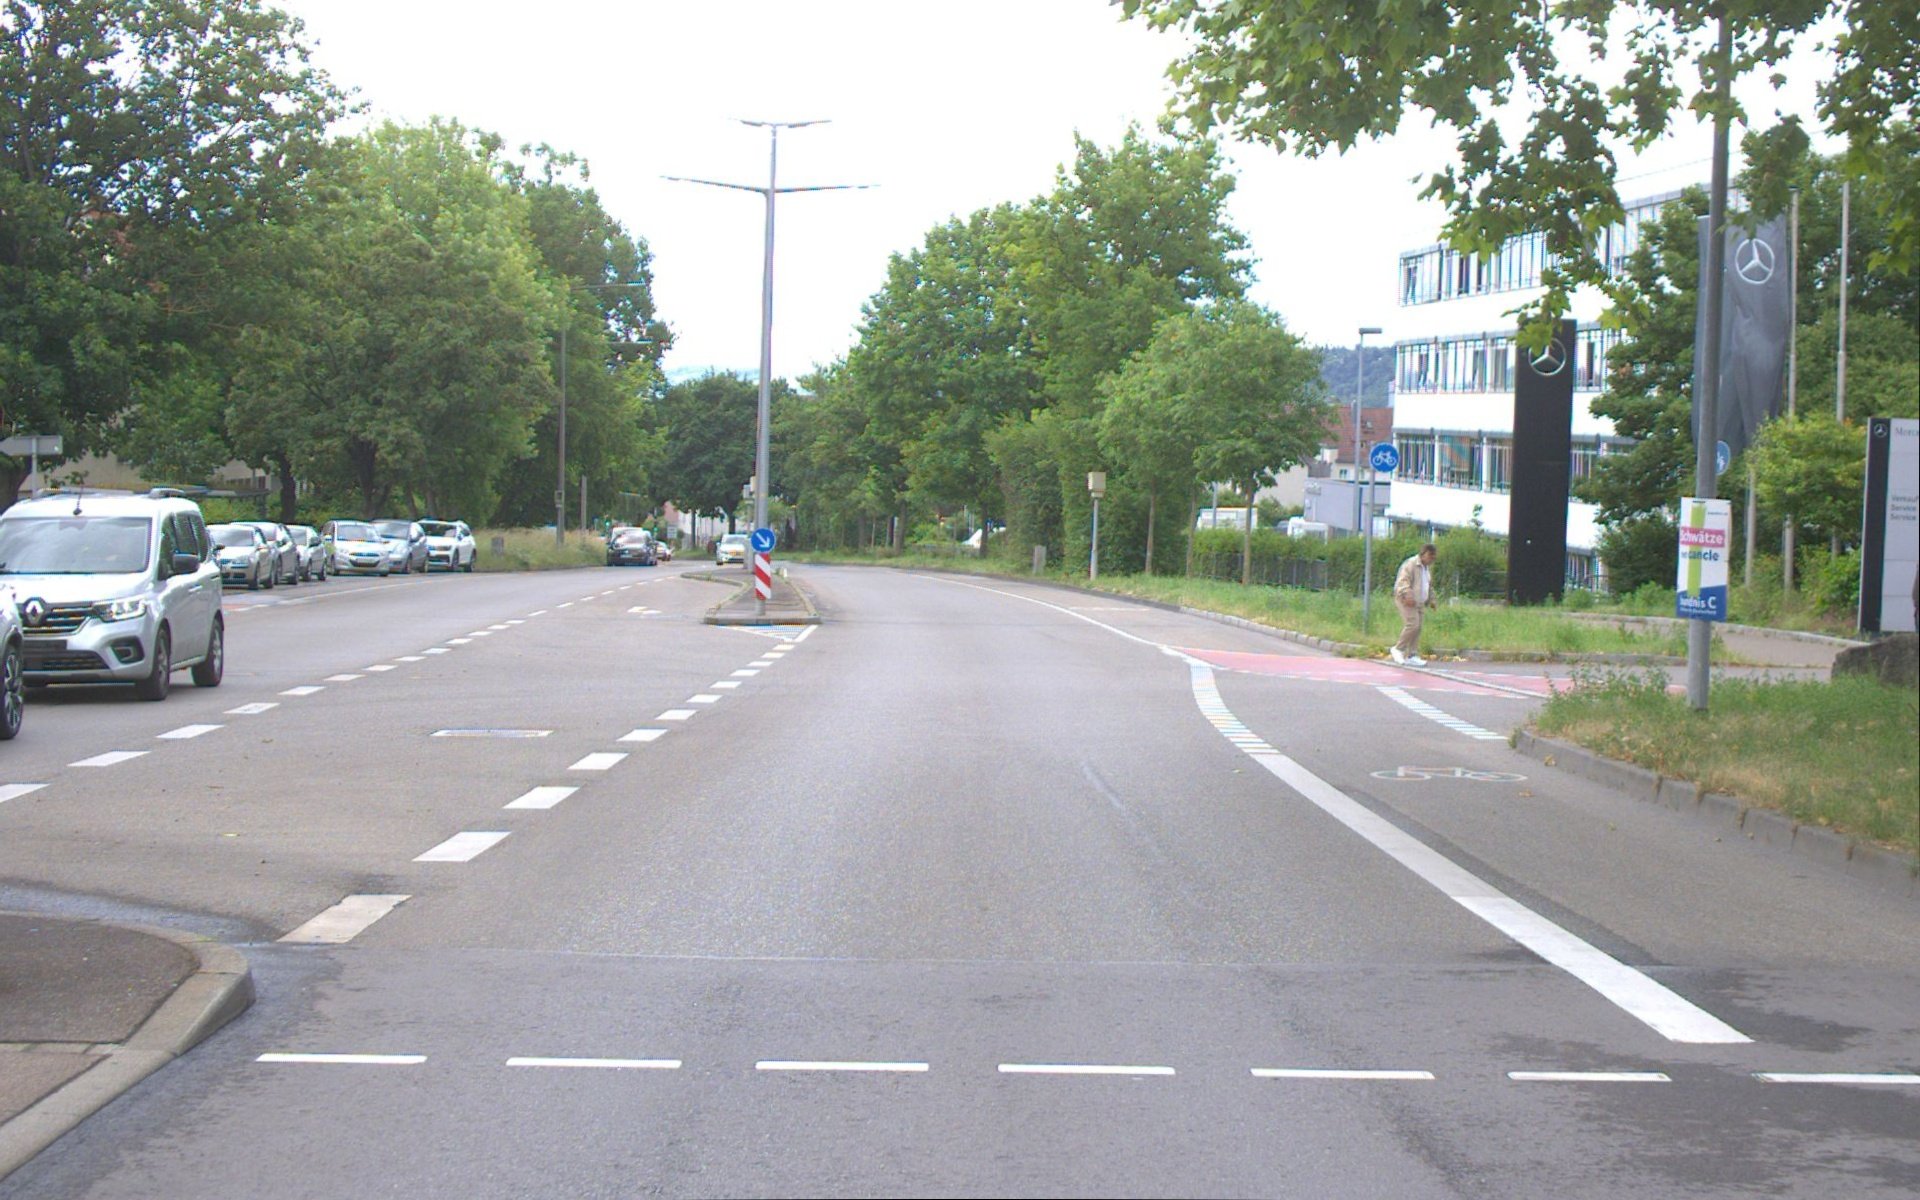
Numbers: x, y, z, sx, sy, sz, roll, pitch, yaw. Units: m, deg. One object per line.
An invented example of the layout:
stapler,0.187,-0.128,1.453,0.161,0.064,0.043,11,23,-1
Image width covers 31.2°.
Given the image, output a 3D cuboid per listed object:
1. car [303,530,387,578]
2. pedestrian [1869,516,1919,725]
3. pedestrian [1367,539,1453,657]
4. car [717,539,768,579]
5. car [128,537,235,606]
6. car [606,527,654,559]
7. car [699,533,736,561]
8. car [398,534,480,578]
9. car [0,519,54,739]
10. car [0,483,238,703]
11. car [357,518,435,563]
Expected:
car,-17.733,-1.334,98.968,1.672,1.300,4.001,1,1,-20
pedestrian,8.450,0.174,29.959,0.748,1.795,0.860,2,1,34
pedestrian,5.665,-0.034,43.285,0.788,1.458,0.749,1,1,-20
car,-7.611,-1.447,120.420,1.611,1.300,4.000,2,1,-2
car,-16.879,-0.638,74.685,1.672,1.398,4.001,2,1,-5
car,-14.172,-2.450,147.796,1.771,1.300,4.000,2,1,-2
car,-11.965,-2.621,169.771,1.611,1.300,4.000,2,1,-2
car,-16.617,-1.413,109.769,1.673,1.300,3.999,2,1,5
car,-7.505,0.224,22.900,1.846,1.515,4.816,-1,1,-3
car,-7.753,-0.109,30.607,1.846,1.797,4.651,-1,1,-3
car,-17.176,-1.822,104.773,1.672,1.300,4.000,2,1,0
